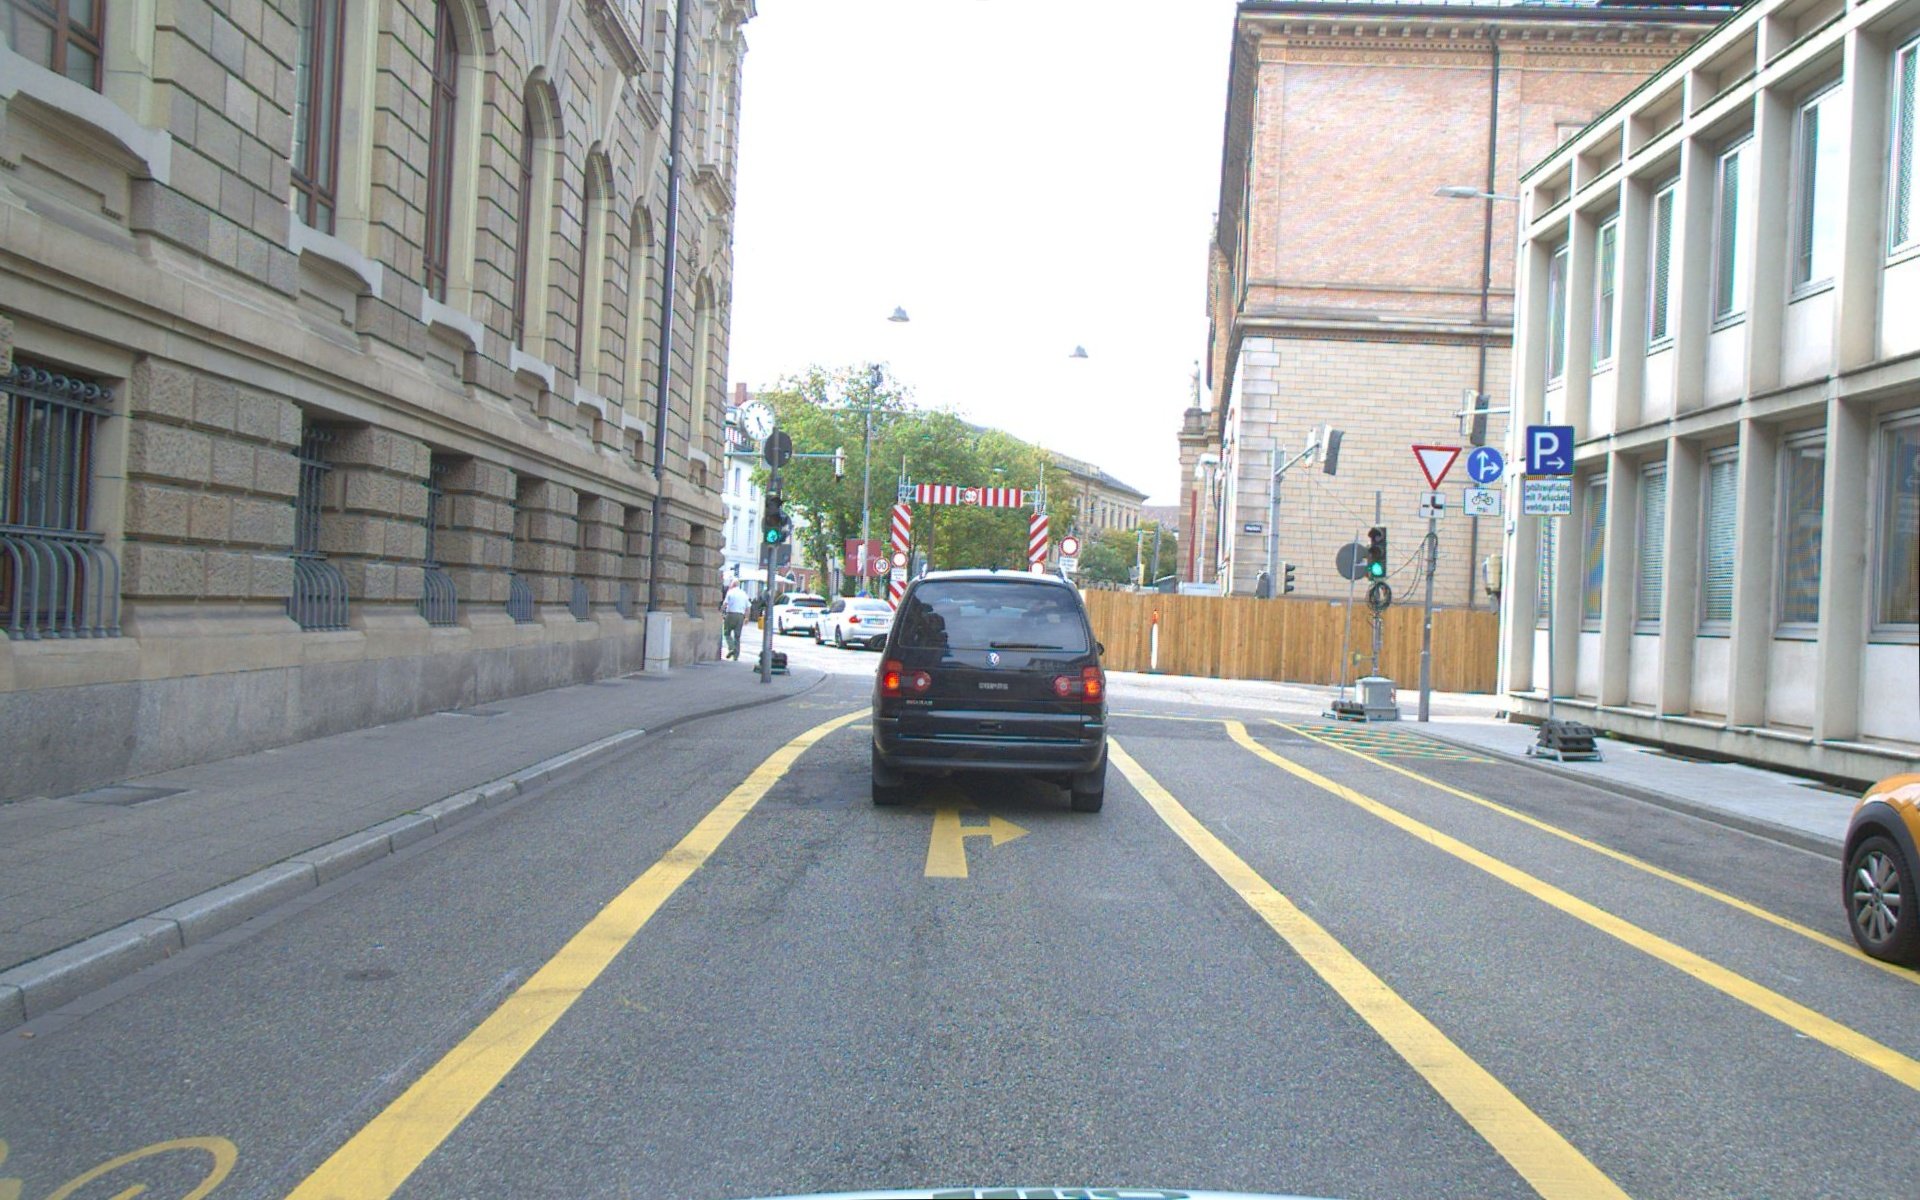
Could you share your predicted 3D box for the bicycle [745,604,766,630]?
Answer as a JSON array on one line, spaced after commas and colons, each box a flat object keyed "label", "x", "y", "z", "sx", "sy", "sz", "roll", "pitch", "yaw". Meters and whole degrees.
[{"label": "bicycle", "x": -8.411, "y": 0.693, "z": 68.022, "sx": 0.722, "sy": 1.026, "sz": 2.063, "roll": 2, "pitch": -1, "yaw": -10}]

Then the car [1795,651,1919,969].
[{"label": "car", "x": 5.337, "y": 1.066, "z": 7.014, "sx": 1.646, "sy": 1.459, "sz": 3.887, "roll": 5, "pitch": 0, "yaw": 2}]

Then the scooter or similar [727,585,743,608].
[{"label": "scooter or similar", "x": -13.067, "y": -0.210, "z": 95.999, "sx": 0.587, "sy": 1.277, "sz": 1.553, "roll": 2, "pitch": -1, "yaw": 4}]

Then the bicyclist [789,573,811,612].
[{"label": "bicyclist", "x": -7.696, "y": -0.364, "z": 79.708, "sx": 0.946, "sy": 1.813, "sz": 0.986, "roll": 2, "pitch": -1, "yaw": -2}]

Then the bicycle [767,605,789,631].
[{"label": "bicycle", "x": -7.500, "y": 0.721, "z": 68.228, "sx": 0.722, "sy": 1.026, "sz": 2.064, "roll": 2, "pitch": -1, "yaw": -10}]

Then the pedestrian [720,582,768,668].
[{"label": "pedestrian", "x": -4.804, "y": 0.548, "z": 36.785, "sx": 0.779, "sy": 1.851, "sz": 1.043, "roll": 4, "pitch": -1, "yaw": -17}]

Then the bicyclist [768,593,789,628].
[{"label": "bicyclist", "x": -7.482, "y": 0.422, "z": 68.150, "sx": 0.722, "sy": 1.399, "sz": 0.829, "roll": 2, "pitch": -1, "yaw": -11}]

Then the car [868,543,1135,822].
[{"label": "car", "x": 0.359, "y": 0.583, "z": 13.371, "sx": 1.752, "sy": 1.821, "sz": 4.104, "roll": 3, "pitch": -1, "yaw": 2}]

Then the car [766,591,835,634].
[{"label": "car", "x": -5.482, "y": 0.413, "z": 56.559, "sx": 1.623, "sy": 1.344, "sz": 3.657, "roll": 2, "pitch": -1, "yaw": -17}]

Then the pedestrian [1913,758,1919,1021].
[{"label": "pedestrian", "x": 4.294, "y": 0.829, "z": 6.456, "sx": 0.684, "sy": 1.794, "sz": 0.705, "roll": 2, "pitch": -1, "yaw": -3}]

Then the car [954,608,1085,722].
[{"label": "car", "x": 0.821, "y": 0.917, "z": 24.877, "sx": 1.644, "sy": 1.494, "sz": 4.101, "roll": 3, "pitch": 0, "yaw": -2}]

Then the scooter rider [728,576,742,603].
[{"label": "scooter rider", "x": -13.058, "y": -0.617, "z": 95.967, "sx": 0.587, "sy": 1.516, "sz": 0.680, "roll": 2, "pitch": -1, "yaw": 4}]

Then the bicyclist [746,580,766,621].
[{"label": "bicyclist", "x": -8.384, "y": 0.019, "z": 67.992, "sx": 0.722, "sy": 1.640, "sz": 0.693, "roll": 2, "pitch": -1, "yaw": -11}]

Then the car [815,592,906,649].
[{"label": "car", "x": -2.890, "y": 0.561, "z": 47.319, "sx": 1.676, "sy": 1.527, "sz": 3.981, "roll": 2, "pitch": -1, "yaw": -17}]
